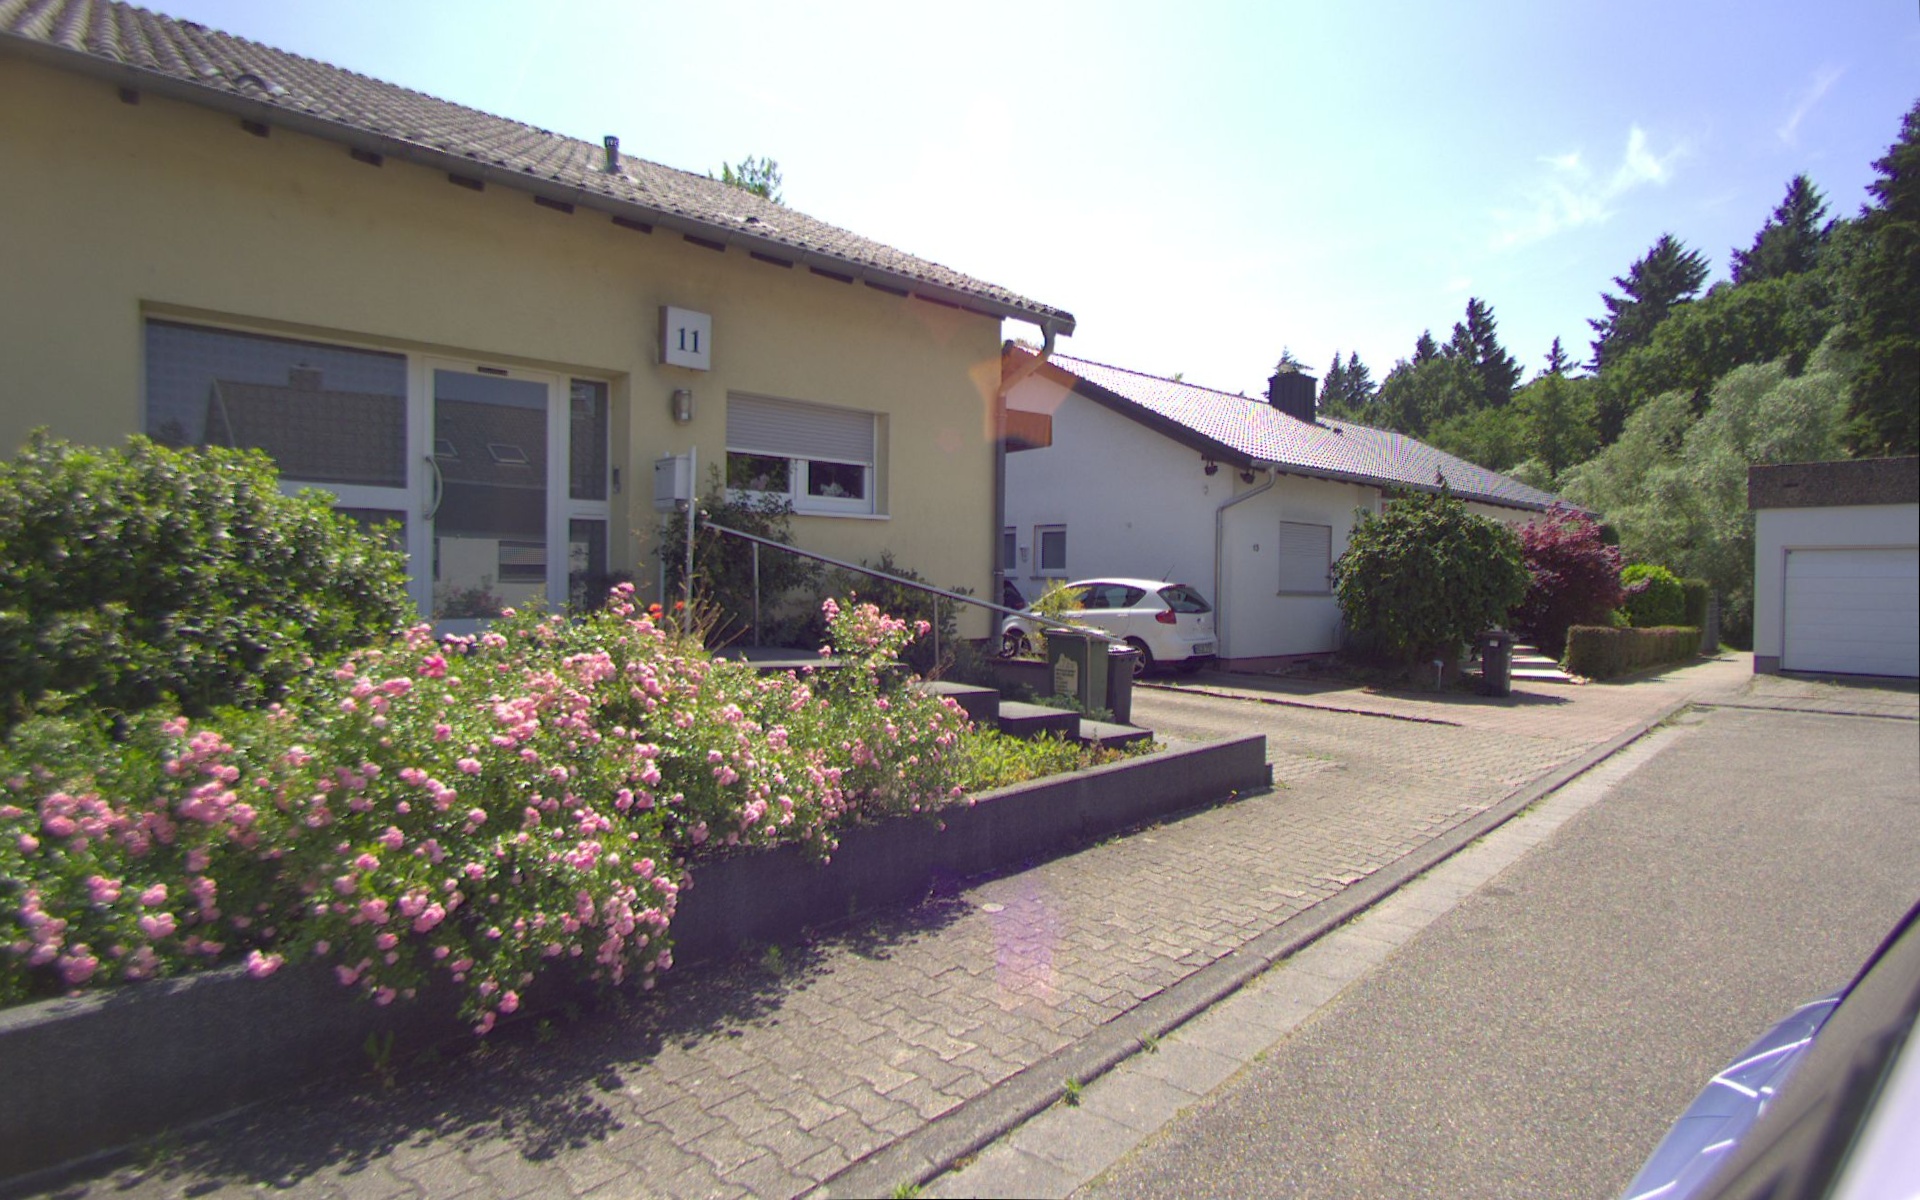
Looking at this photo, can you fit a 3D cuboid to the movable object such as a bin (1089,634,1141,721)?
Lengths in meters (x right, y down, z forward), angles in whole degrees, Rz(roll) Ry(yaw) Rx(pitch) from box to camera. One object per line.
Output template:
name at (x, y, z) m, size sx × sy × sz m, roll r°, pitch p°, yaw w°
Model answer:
movable object such as a bin at (1.714, 0.843, 11.184) m, size 0.425 × 0.902 × 0.401 m, roll 1°, pitch 1°, yaw 42°

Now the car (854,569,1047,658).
car at (-0.285, 0.191, 21.037) m, size 1.895 × 1.627 × 3.995 m, roll -1°, pitch 2°, yaw -40°

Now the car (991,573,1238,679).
car at (2.563, 0.350, 17.444) m, size 1.723 × 1.588 × 3.991 m, roll 0°, pitch 1°, yaw -44°

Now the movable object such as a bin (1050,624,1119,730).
movable object such as a bin at (1.335, 0.806, 10.841) m, size 0.490 × 1.054 × 0.584 m, roll 1°, pitch 1°, yaw 42°

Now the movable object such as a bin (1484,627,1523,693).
movable object such as a bin at (7.805, 0.856, 14.542) m, size 0.369 × 0.902 × 0.390 m, roll -1°, pitch 1°, yaw -42°
